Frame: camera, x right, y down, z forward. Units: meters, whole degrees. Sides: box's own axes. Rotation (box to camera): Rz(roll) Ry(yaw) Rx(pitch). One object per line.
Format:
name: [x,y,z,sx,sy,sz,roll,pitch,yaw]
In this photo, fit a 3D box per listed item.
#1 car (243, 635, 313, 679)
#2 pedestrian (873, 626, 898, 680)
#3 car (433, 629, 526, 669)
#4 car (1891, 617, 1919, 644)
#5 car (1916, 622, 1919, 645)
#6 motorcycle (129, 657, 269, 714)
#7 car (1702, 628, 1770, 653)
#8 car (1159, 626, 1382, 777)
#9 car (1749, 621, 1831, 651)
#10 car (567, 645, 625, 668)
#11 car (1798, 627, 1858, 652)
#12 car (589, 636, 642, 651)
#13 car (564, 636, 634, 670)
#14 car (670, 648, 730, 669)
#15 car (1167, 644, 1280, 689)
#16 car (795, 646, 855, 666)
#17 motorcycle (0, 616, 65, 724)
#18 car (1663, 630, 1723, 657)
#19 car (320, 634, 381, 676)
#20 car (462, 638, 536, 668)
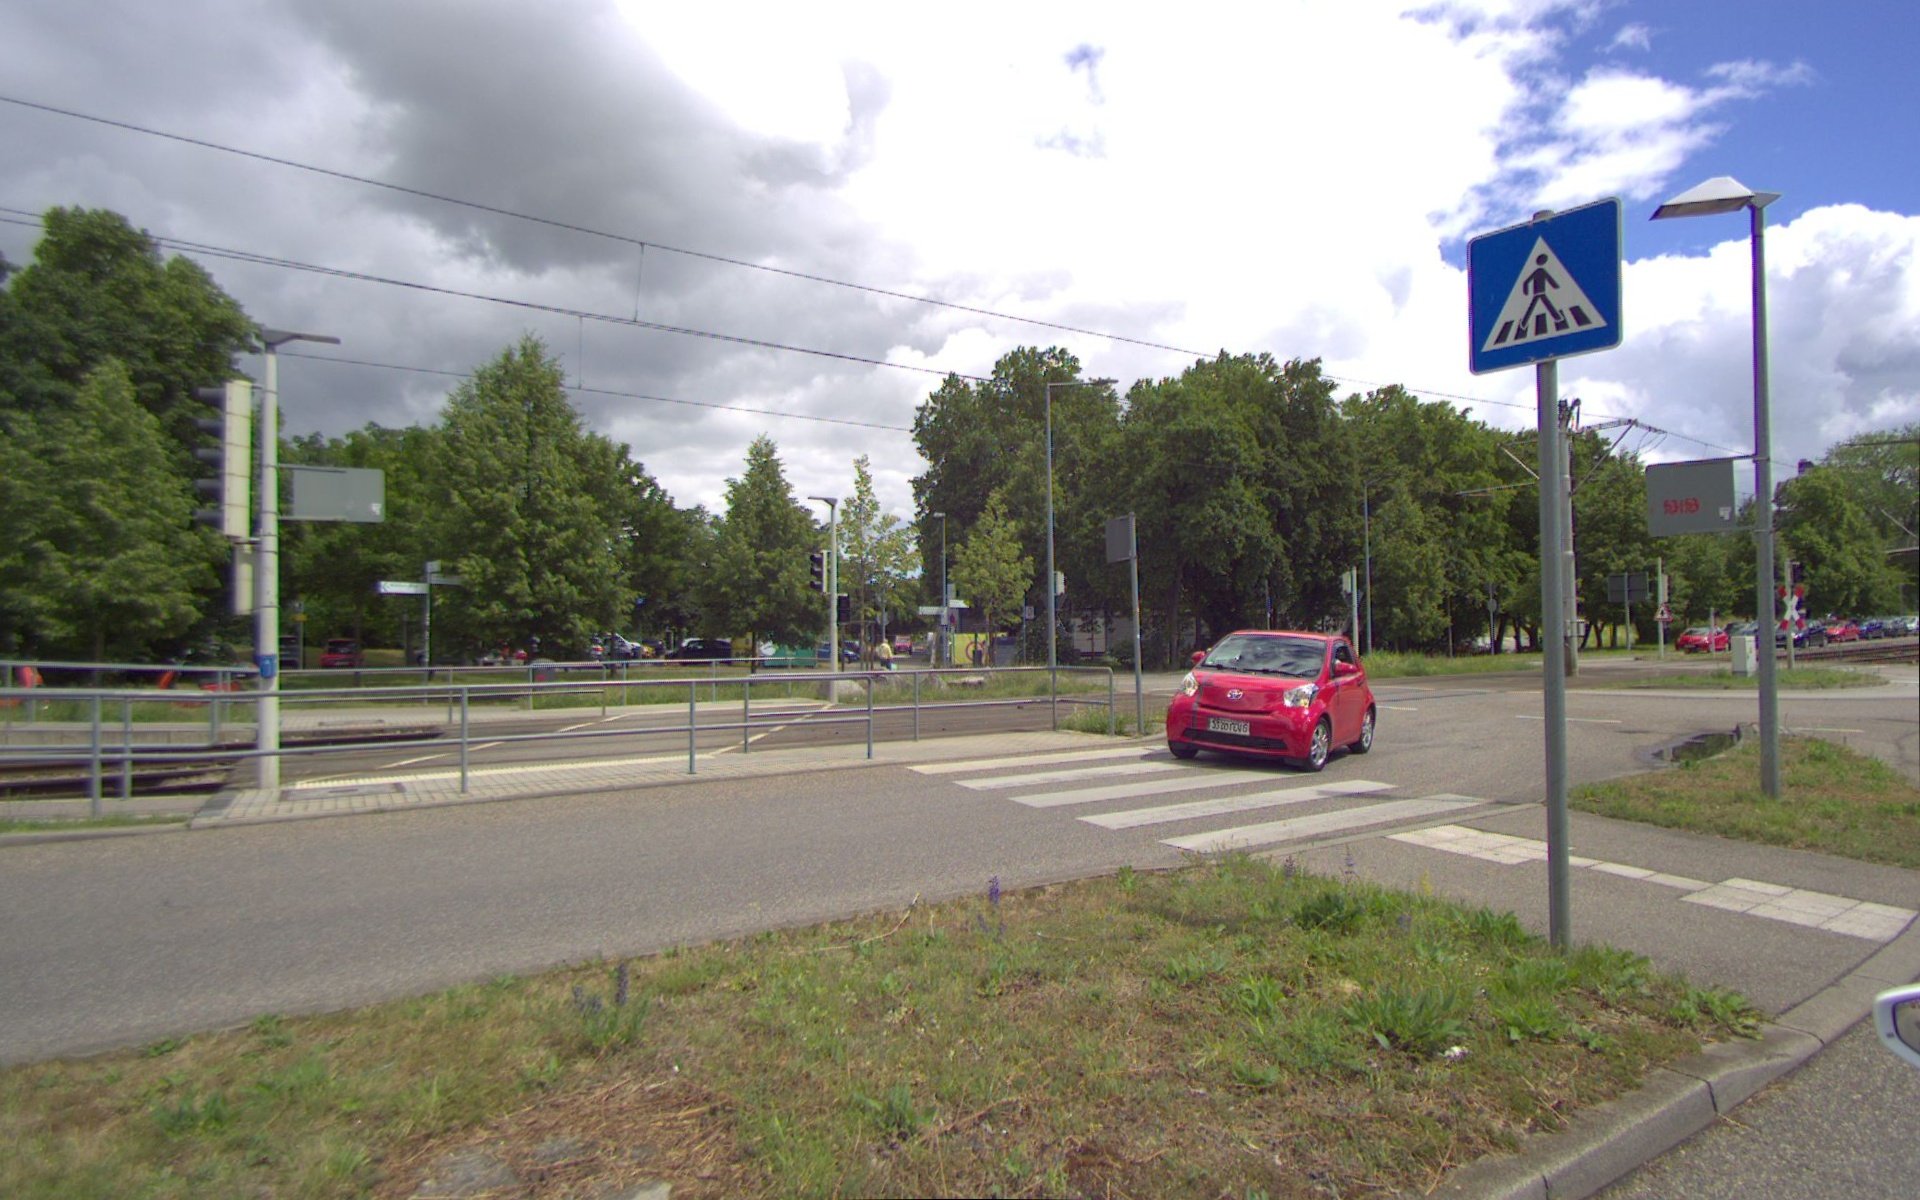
car: [-30.530,2.506,45.089,1.973,1.859,3.976,0,-2,-25]
pedestrian: [-2.911,2.057,39.096,0.808,2.040,0.961,-1,-1,-15]
car: [-25.384,2.566,53.133,3.921,2.040,2.001,-1,-1,1]
car: [75.803,2.400,79.472,3.951,2.040,1.985,0,-2,-29]
car: [80.144,2.695,82.041,3.954,1.887,1.984,0,-2,-31]
motorcycle: [-15.818,1.762,20.956,2.186,1.095,0.727,1,-3,-27]
car: [45.193,2.341,58.496,3.487,1.444,1.872,1,-2,-28]
car: [3.747,1.081,11.862,1.697,1.522,2.957,-2,-2,35]
car: [45.450,1.968,54.971,4.366,1.618,1.985,1,-3,-29]
car: [-25.622,3.970,70.842,3.514,1.525,1.515,-1,-1,1]
car: [58.096,2.644,67.235,3.955,1.581,1.903,1,-2,-31]
car: [-26.147,3.277,76.254,3.381,1.034,1.633,-1,-2,3]
car: [-18.895,2.758,52.782,1.960,1.660,4.141,-1,-2,3]
car: [-14.803,3.312,57.222,3.044,1.096,1.416,-1,-1,-2]
car: [9.094,2.270,34.623,3.797,1.368,1.863,0,-3,-39]
car: [-9.450,3.938,70.596,3.921,1.243,2.050,-1,-2,-1]
motorcycle: [-18.649,1.334,19.304,1.952,2.040,0.832,1,-2,-20]
car: [40.428,2.385,55.371,3.559,1.388,1.519,0,-2,-34]
car: [-28.468,2.525,47.025,1.973,1.859,3.976,0,-2,-25]
car: [-25.854,2.943,56.374,3.411,1.587,1.493,-1,-1,0]
